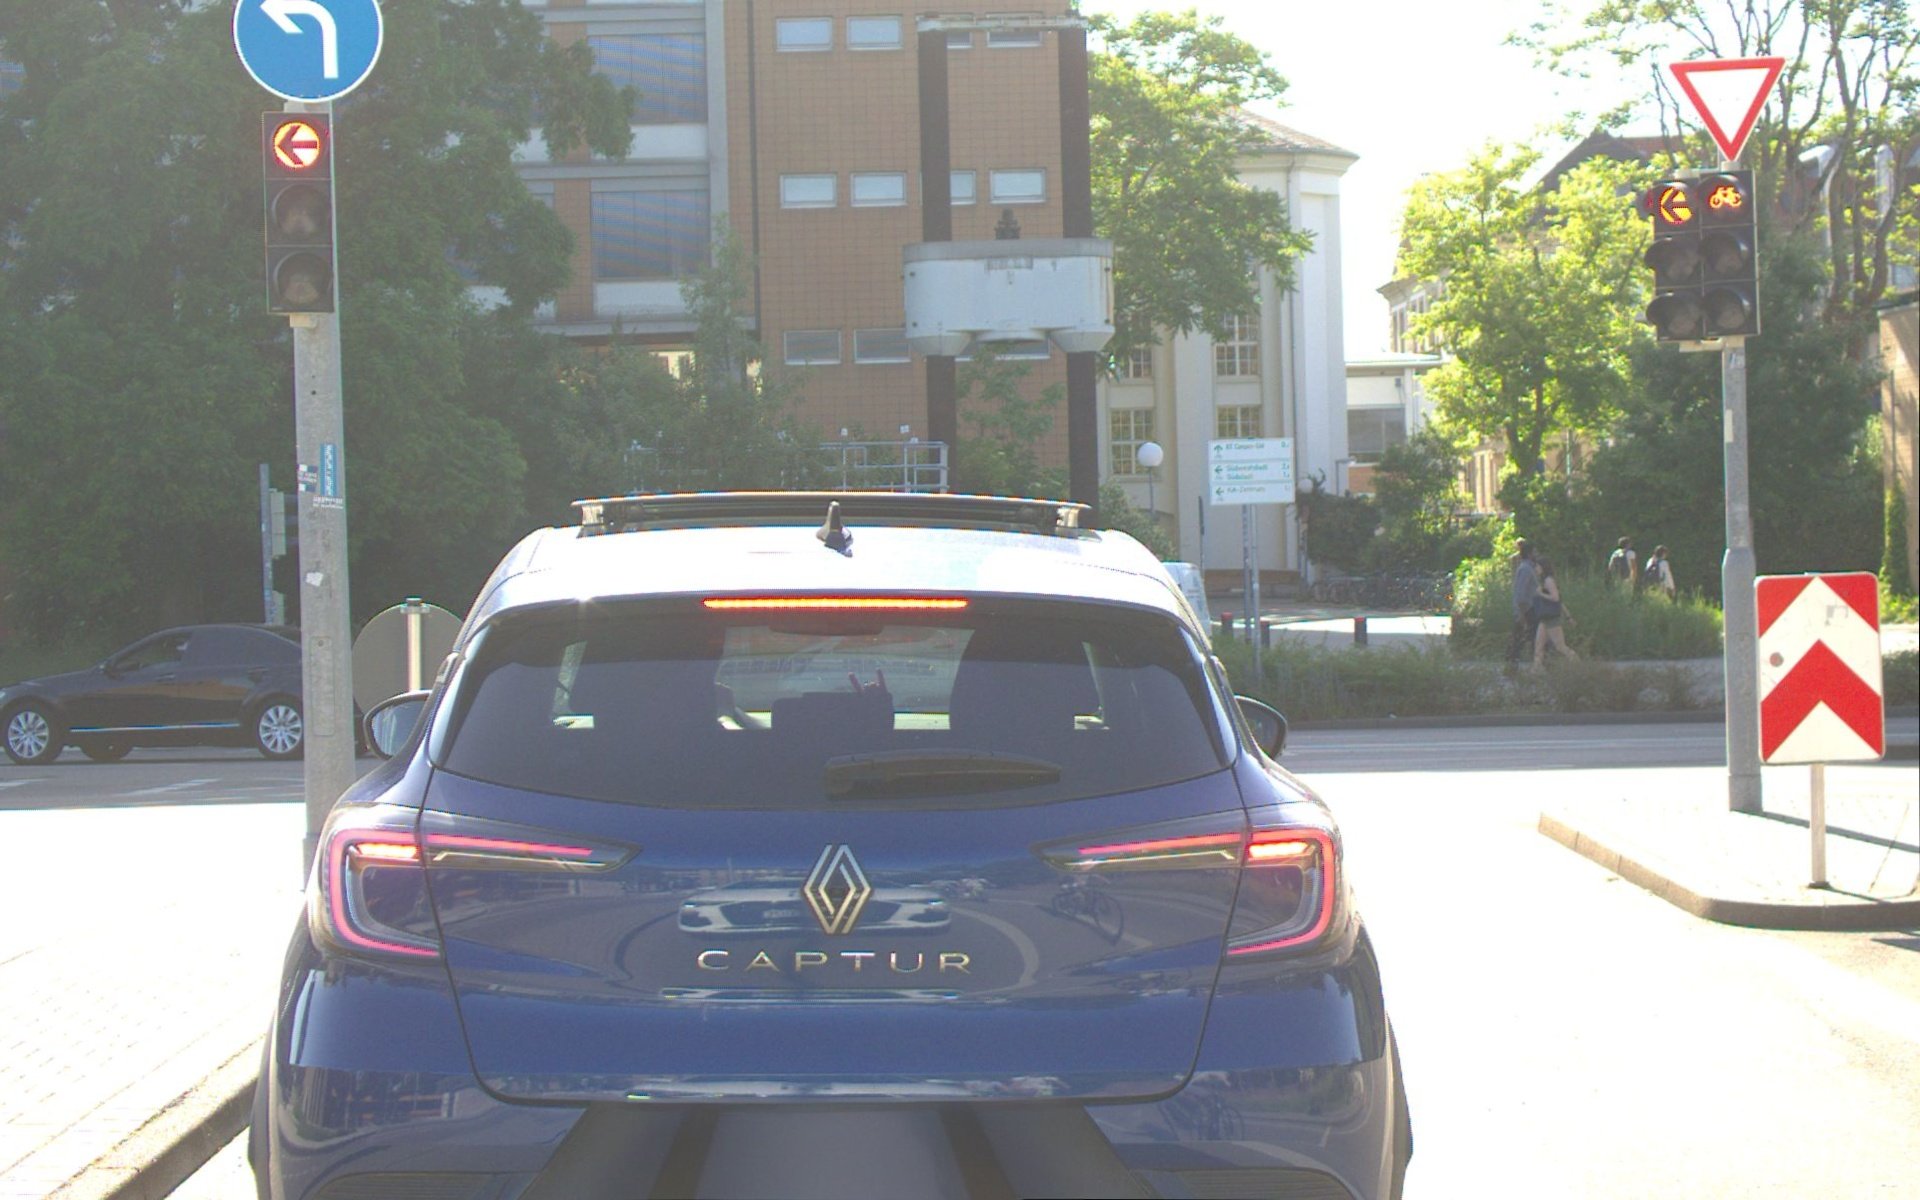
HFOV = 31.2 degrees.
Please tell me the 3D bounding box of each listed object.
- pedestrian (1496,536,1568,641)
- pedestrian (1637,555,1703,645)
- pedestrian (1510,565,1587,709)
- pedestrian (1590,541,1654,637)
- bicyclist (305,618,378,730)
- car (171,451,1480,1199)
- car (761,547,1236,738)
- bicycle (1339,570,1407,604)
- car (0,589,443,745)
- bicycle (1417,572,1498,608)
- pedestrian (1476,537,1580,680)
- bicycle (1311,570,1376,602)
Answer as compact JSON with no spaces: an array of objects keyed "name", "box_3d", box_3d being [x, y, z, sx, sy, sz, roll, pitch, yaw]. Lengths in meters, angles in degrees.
[{"name":"pedestrian","box_3d":[11.128,-0.230,66.894,1.156,2.007,1.164,-1,1,0]},{"name":"pedestrian","box_3d":[12.939,-0.014,62.698,0.936,1.607,1.176,-1,1,0]},{"name":"pedestrian","box_3d":[7.667,0.478,44.823,0.932,1.849,0.807,-1,1,9]},{"name":"pedestrian","box_3d":[12.199,-0.213,63.387,0.953,1.735,0.984,-1,1,0]},{"name":"bicyclist","box_3d":[-7.930,0.952,44.063,0.637,1.407,0.648,0,-2,-43]},{"name":"car","box_3d":[-0.237,0.589,6.663,1.794,1.649,3.853,0,1,-2]},{"name":"car","box_3d":[0.469,0.466,38.726,5.002,2.007,2.071,-1,1,12]},{"name":"bicycle","box_3d":[11.403,-0.369,94.948,1.771,0.895,0.765,-1,1,0]},{"name":"car","box_3d":[-8.361,0.723,37.784,4.845,1.576,2.100,-1,1,13]},{"name":"bicycle","box_3d":[12.034,-0.254,83.146,1.770,0.820,0.766,-1,1,-10]},{"name":"pedestrian","box_3d":[7.544,0.106,45.649,1.298,1.849,0.965,-1,1,11]},{"name":"bicycle","box_3d":[11.064,-0.400,99.312,1.771,0.890,0.765,-1,1,0]}]
